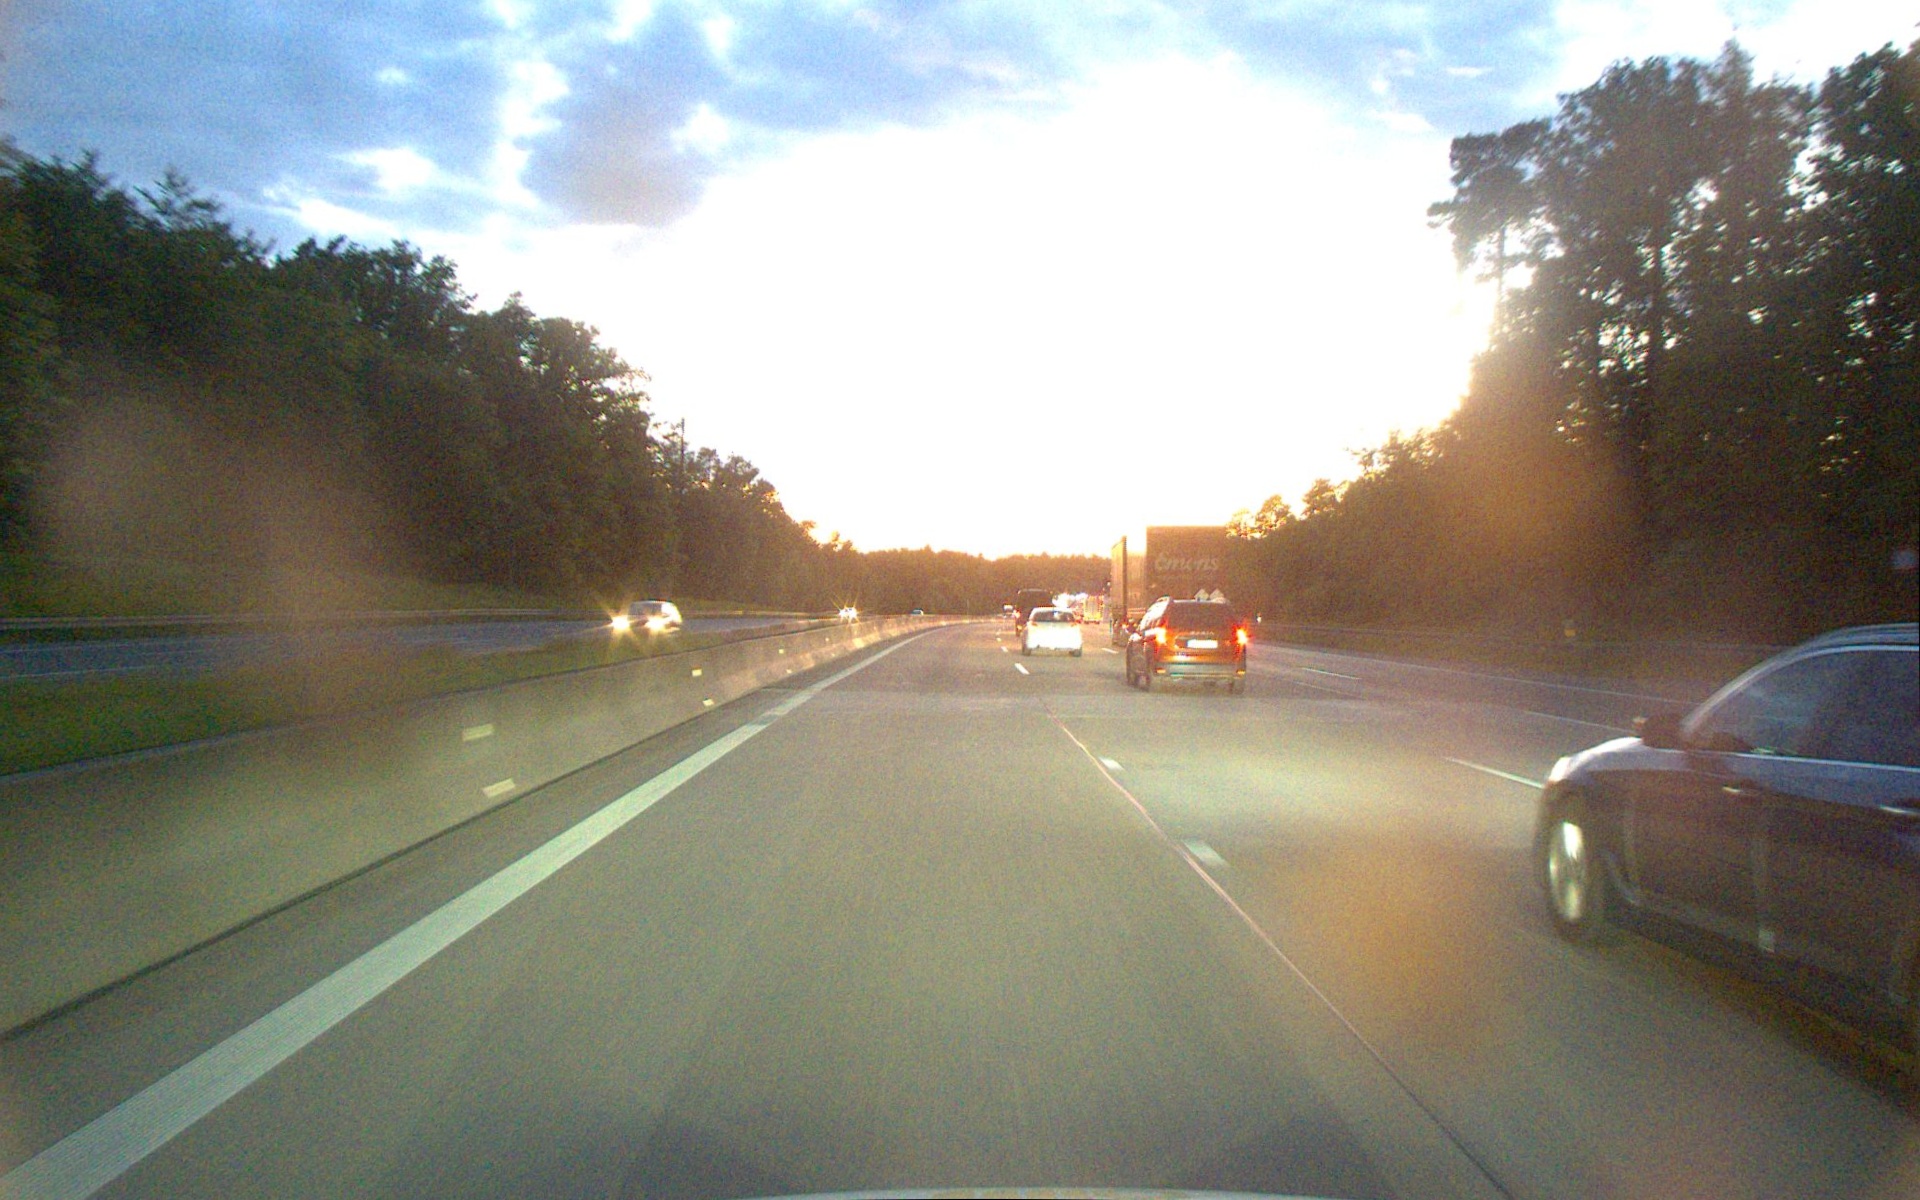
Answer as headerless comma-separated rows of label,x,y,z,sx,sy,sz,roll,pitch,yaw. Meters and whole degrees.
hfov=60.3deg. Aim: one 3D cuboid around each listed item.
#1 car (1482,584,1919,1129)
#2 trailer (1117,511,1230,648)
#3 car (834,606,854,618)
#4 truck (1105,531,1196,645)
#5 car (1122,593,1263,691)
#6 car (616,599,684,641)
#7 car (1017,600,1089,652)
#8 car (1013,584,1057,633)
car,3.738,0.759,6.067,1.870,1.564,5.230,0,1,-2
trailer,7.048,-0.568,55.987,2.846,4.172,10.360,1,-1,2
car,-15.348,1.624,219.129,1.803,1.489,4.003,2,0,9
truck,7.497,-0.376,66.529,2.825,4.172,10.834,1,-1,2
car,4.218,0.716,30.742,1.864,1.672,5.051,0,0,-1
car,-11.028,0.701,59.056,1.585,1.430,4.315,0,0,0
car,2.811,0.761,50.545,1.822,1.467,3.719,0,1,-3
car,3.903,0.458,85.378,2.120,2.461,5.566,0,-1,4
